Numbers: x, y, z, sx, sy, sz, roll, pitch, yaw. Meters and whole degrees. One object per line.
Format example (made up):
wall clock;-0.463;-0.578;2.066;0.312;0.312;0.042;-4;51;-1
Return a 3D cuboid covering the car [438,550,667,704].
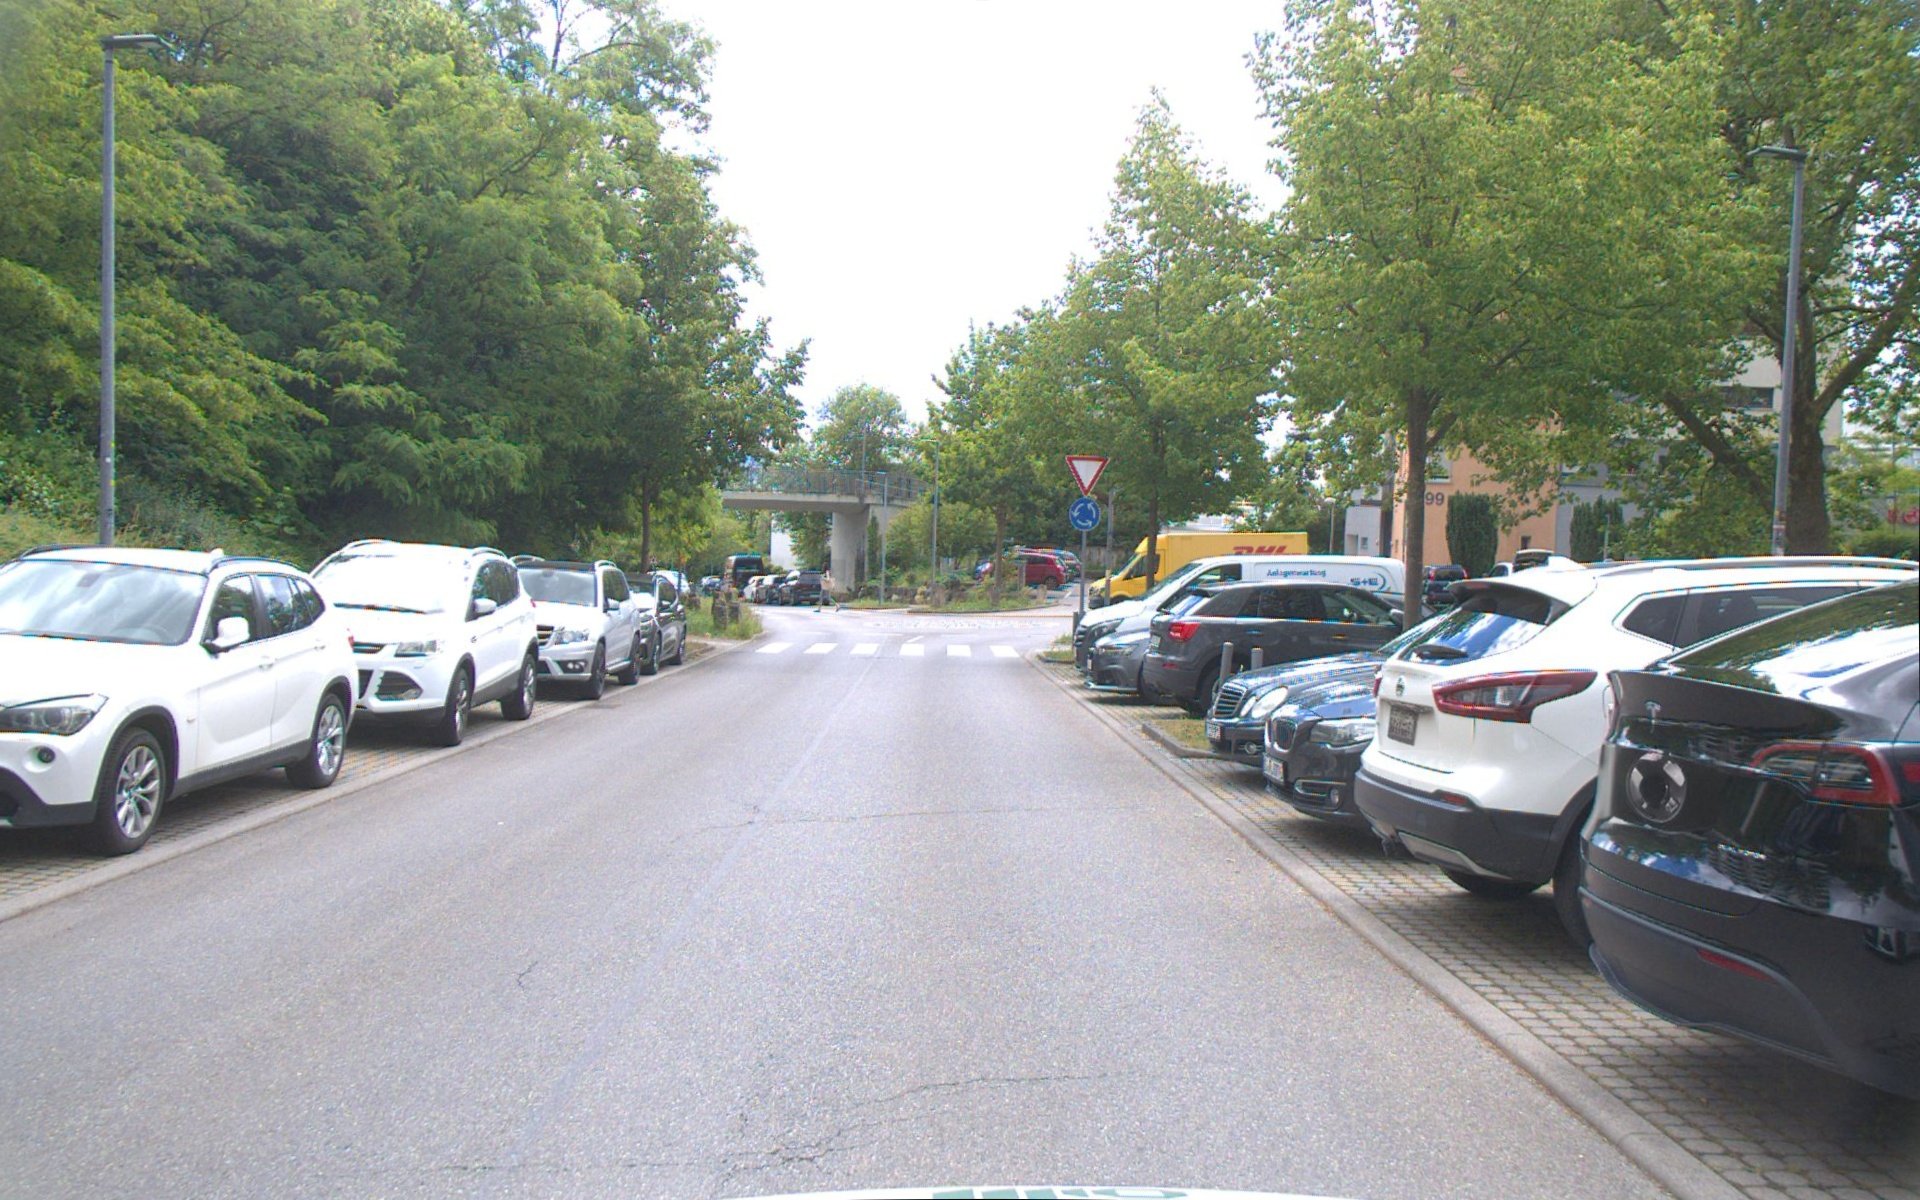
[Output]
car;-5.091;0.267;21.295;1.763;1.643;4.478;4;1;-1

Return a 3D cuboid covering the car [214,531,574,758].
car;-5.068;0.313;15.515;1.771;1.693;4.437;4;1;-1

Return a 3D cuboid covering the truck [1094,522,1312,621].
truck;7.789;-0.956;53.720;6.661;2.747;2.477;2;5;2

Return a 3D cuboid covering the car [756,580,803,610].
car;-9.376;-0.279;85.754;1.673;1.523;4.098;0;0;-18

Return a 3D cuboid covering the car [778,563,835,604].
car;-7.415;-0.766;79.717;1.786;1.708;4.346;0;-3;-19

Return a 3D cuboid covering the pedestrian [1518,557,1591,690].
pedestrian;7.697;0.295;21.437;0.675;1.685;0.600;2;1;-2

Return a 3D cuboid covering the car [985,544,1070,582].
car;3.193;-1.752;78.060;3.904;1.641;1.945;2;1;2

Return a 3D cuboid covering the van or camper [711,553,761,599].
van or camper;-13.093;-1.358;96.507;1.962;2.567;5.444;-2;0;-17

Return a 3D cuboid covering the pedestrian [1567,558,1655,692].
pedestrian;8.434;0.317;21.452;0.852;1.685;0.593;2;1;-2

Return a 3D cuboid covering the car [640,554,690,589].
car;-13.298;-1.288;74.461;1.854;1.485;3.531;1;1;-16

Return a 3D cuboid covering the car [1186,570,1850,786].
car;4.176;0.556;12.826;4.486;1.518;1.950;0;0;-5

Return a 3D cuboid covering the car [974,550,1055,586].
car;2.526;-1.455;75.743;3.573;1.524;1.685;2;1;5

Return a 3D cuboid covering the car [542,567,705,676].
car;-5.319;0.281;26.665;1.655;1.490;4.456;4;1;-1

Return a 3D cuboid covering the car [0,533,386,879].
car;-5.021;0.432;9.857;1.655;1.537;4.230;4;1;-1

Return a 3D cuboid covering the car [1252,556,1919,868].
car;3.785;0.591;9.763;3.902;1.545;1.885;2;0;6

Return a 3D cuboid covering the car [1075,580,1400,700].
car;3.445;0.471;20.972;3.748;1.395;1.842;-1;1;-4

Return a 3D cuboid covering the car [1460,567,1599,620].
car;18.252;-0.217;53.154;3.912;1.646;1.723;0;0;5

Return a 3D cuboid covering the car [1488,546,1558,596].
car;19.692;-1.013;57.967;1.535;1.687;3.780;-1;1;6

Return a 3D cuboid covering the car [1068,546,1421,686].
car;3.999;0.198;23.677;4.680;1.863;1.841;-1;1;-4

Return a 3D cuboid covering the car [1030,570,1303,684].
car;3.229;0.405;26.400;4.067;1.630;1.738;2;1;-2

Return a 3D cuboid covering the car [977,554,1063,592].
car;2.569;-1.149;70.520;3.573;1.464;1.685;2;1;5

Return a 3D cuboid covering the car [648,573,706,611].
car;-12.054;-0.356;70.239;1.760;1.493;3.977;1;1;-20

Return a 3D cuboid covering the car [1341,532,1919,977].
car;3.676;0.589;7.253;3.594;1.675;1.852;1;1;1

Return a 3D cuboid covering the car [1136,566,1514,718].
car;3.959;0.427;18.387;3.748;1.546;1.911;-1;1;-3

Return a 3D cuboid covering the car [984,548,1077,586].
car;3.439;-1.615;80.496;4.449;1.697;1.945;2;1;2

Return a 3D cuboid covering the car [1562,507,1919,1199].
car;3.758;0.611;4.582;3.594;1.602;1.593;1;0;1

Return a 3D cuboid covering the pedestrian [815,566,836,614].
pedestrian;-4.979;-0.389;61.376;0.644;1.751;0.740;2;1;2
